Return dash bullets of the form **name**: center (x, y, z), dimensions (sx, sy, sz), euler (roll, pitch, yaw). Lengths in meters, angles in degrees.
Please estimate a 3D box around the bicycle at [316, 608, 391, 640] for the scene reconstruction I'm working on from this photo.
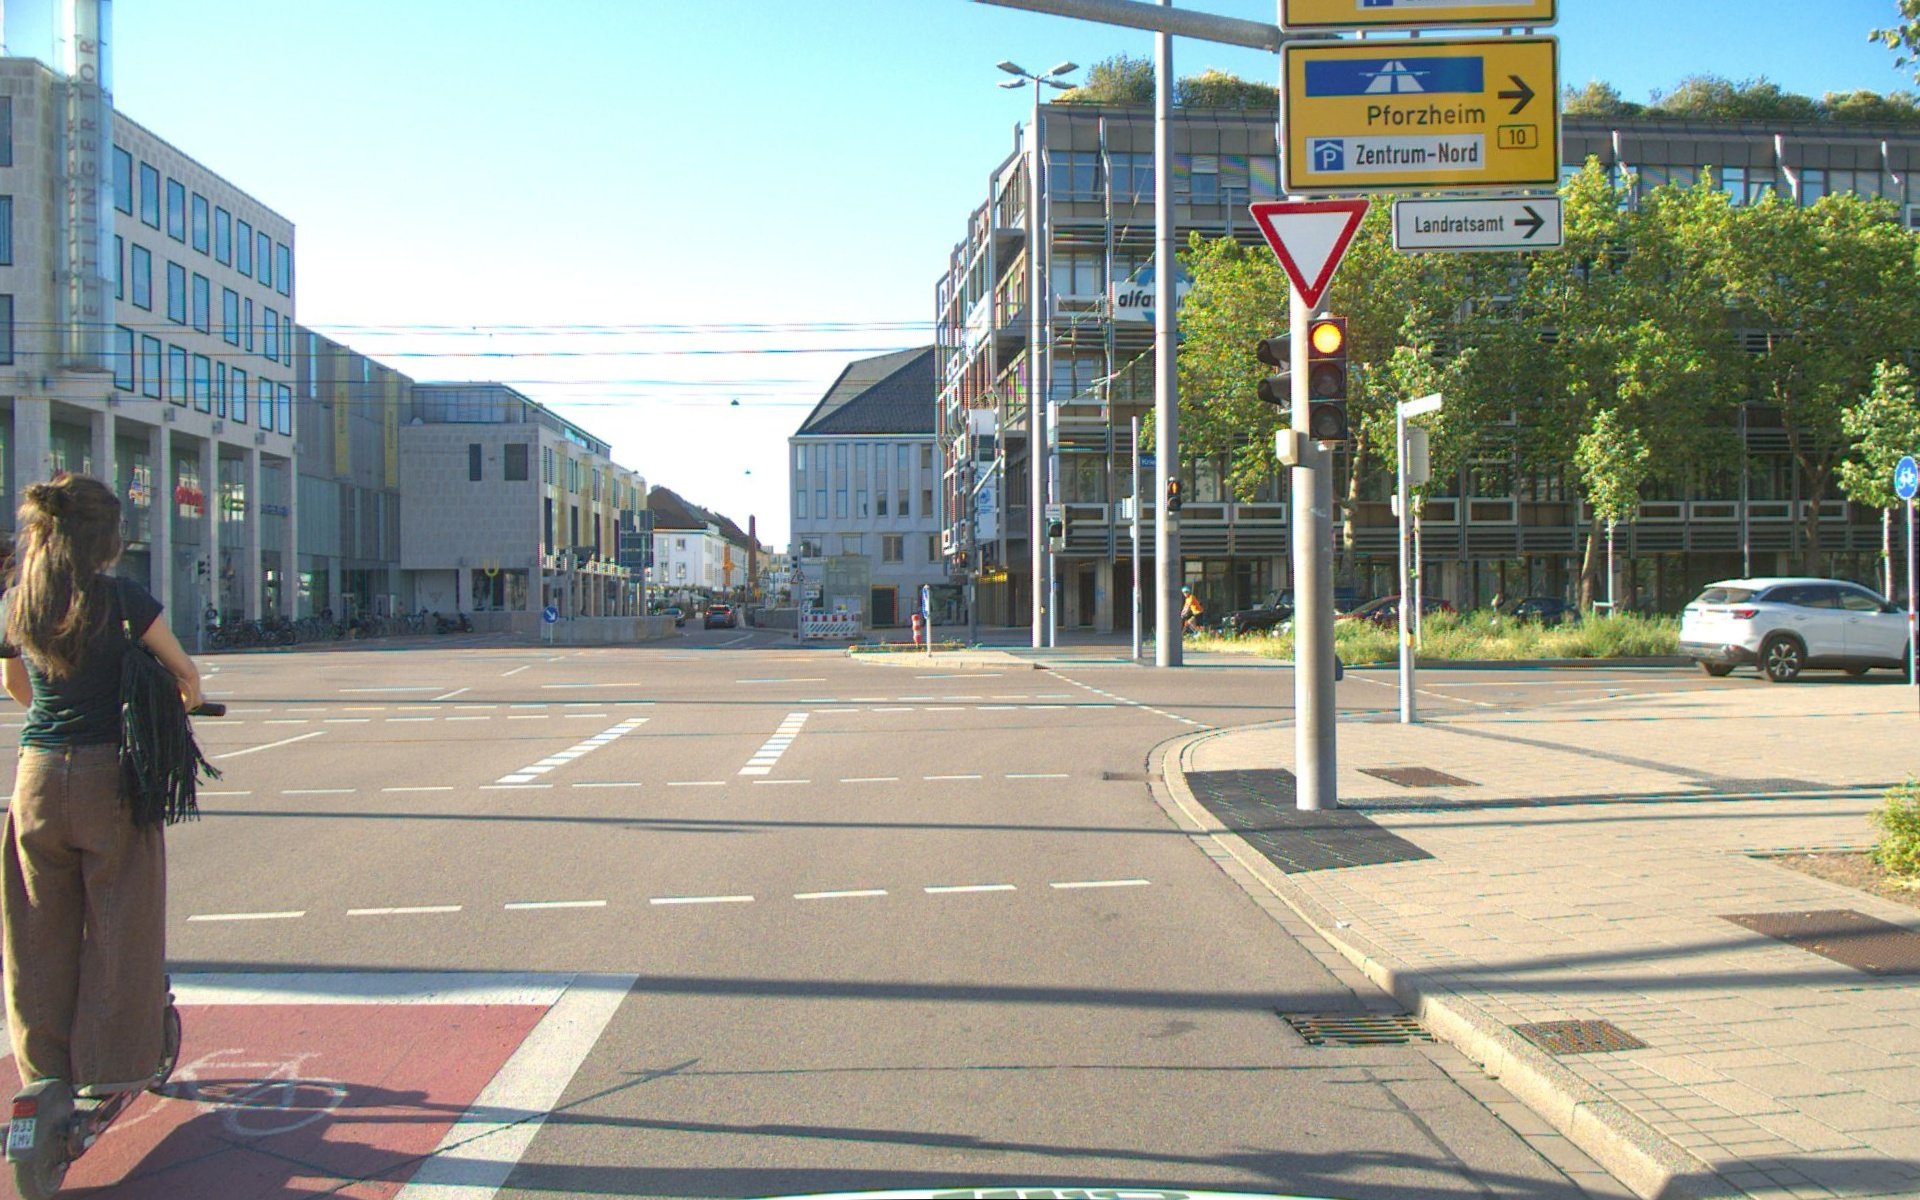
- **bicycle**: center (-30.883, 1.216, 84.263), dimensions (3.430, 1.554, 0.984), euler (-1, 0, -12)

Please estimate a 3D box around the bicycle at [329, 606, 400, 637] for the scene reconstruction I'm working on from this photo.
- **bicycle**: center (-31.388, 1.112, 87.241), dimensions (3.430, 1.554, 0.984), euler (-1, 0, -12)

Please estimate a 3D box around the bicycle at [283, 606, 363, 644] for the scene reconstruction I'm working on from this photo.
- **bicycle**: center (-30.336, 1.191, 78.864), dimensions (3.430, 1.726, 0.984), euler (-1, 0, -12)

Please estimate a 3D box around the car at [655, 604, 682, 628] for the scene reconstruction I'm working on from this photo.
- **car**: center (-22.925, 1.260, 130.211), dimensions (1.722, 1.814, 3.997), euler (-1, 0, -4)

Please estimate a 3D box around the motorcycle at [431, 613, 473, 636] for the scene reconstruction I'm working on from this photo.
- **motorcycle**: center (-29.953, 1.440, 97.591), dimensions (2.230, 1.341, 0.719), euler (-1, 0, -6)

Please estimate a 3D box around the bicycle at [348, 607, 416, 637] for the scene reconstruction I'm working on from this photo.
- **bicycle**: center (-31.946, 1.202, 91.422), dimensions (3.430, 1.554, 0.984), euler (-1, 0, -12)

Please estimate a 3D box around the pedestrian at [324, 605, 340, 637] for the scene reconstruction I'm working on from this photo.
- **pedestrian**: center (-33.510, 1.100, 88.209), dimensions (0.641, 1.671, 0.693), euler (-1, 0, -9)

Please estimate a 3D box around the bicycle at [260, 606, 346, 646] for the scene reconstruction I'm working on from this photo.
- **bicycle**: center (-29.573, 1.172, 74.491), dimensions (3.430, 1.726, 0.984), euler (-1, 0, -12)

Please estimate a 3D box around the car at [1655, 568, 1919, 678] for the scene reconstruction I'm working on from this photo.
- **car**: center (13.892, 0.333, 27.058), dimensions (4.313, 1.689, 1.995), euler (0, 1, -11)

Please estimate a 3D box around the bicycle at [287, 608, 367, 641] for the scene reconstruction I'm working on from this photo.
- **bicycle**: center (-30.541, 1.174, 79.853), dimensions (3.430, 1.554, 0.984), euler (-1, 0, -12)

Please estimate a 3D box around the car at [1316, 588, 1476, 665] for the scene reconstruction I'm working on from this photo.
- **car**: center (12.232, 0.735, 46.575), dimensions (3.908, 2.049, 1.999), euler (1, 0, -3)

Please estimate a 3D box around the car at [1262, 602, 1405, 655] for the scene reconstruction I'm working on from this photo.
- **car**: center (11.440, 0.866, 50.813), dimensions (3.908, 1.534, 1.867), euler (1, 0, -4)

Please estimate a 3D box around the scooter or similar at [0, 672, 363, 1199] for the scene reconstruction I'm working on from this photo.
- **scooter or similar**: center (-2.242, 0.842, 4.415), dimensions (0.713, 1.223, 1.664), euler (0, 0, -1)

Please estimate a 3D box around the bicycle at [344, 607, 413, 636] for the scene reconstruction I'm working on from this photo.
- **bicycle**: center (-31.782, 1.171, 90.397), dimensions (3.430, 1.554, 0.984), euler (-1, 0, -12)

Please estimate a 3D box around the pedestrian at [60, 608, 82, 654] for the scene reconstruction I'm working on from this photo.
- **pedestrian**: center (-32.592, 1.117, 60.643), dimensions (0.531, 1.671, 0.549), euler (-1, 0, -12)

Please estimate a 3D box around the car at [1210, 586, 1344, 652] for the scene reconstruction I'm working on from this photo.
- **car**: center (10.305, 0.600, 53.916), dimensions (3.908, 2.049, 1.999), euler (1, 0, -3)

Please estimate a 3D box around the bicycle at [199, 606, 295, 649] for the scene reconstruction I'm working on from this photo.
- **bicycle**: center (-29.321, 1.116, 68.030), dimensions (3.427, 1.726, 1.114), euler (-1, 0, -10)

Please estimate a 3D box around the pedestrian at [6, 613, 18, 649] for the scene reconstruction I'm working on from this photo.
- **pedestrian**: center (-37.758, 1.235, 65.876), dimensions (0.382, 1.437, 0.433), euler (-1, 0, -29)

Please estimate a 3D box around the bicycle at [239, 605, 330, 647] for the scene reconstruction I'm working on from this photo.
- **bicycle**: center (-28.867, 1.090, 70.710), dimensions (3.427, 1.726, 1.114), euler (-1, 0, -10)

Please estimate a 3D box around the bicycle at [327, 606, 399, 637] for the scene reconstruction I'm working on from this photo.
- **bicycle**: center (-31.071, 1.124, 86.125), dimensions (3.430, 1.554, 0.984), euler (-1, 0, -12)

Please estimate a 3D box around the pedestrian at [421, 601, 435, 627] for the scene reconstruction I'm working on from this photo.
- **pedestrian**: center (-34.168, 0.910, 106.260), dimensions (0.683, 1.671, 0.694), euler (-1, 0, -6)

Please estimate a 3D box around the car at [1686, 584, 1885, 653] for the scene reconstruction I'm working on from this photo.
- **car**: center (26.173, 0.581, 52.573), dimensions (5.332, 2.049, 2.096), euler (1, 0, -3)

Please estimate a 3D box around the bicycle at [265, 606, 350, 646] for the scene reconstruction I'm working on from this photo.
- **bicycle**: center (-29.797, 1.181, 75.579), dimensions (3.430, 1.726, 0.984), euler (-1, 0, -12)

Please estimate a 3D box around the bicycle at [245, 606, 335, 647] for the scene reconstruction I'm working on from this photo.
- **bicycle**: center (-29.097, 1.126, 71.922), dimensions (3.427, 1.726, 1.114), euler (-1, 0, -10)

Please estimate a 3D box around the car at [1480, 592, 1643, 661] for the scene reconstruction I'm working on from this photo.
- **car**: center (18.828, 0.823, 51.877), dimensions (4.359, 2.049, 1.998), euler (1, 0, -6)

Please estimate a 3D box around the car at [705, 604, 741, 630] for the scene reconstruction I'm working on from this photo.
- **car**: center (-15.495, 1.101, 108.160), dimensions (2.157, 1.635, 4.320), euler (-1, 0, -6)

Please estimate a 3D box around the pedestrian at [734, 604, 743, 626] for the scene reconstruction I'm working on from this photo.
- **pedestrian**: center (-14.483, 0.993, 108.190), dimensions (0.598, 1.436, 0.569), euler (-1, 0, -7)

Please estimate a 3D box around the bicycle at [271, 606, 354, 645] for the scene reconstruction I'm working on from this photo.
- **bicycle**: center (-30.038, 1.182, 76.779), dimensions (3.430, 1.726, 0.984), euler (-1, 0, -12)

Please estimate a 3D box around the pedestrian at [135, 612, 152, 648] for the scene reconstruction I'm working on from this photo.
- **pedestrian**: center (-34.661, 1.268, 70.198), dimensions (0.472, 1.537, 0.513), euler (-1, 0, -5)

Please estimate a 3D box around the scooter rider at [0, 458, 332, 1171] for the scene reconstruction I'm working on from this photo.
- **scooter rider**: center (-2.256, 0.542, 4.599), dimensions (0.713, 1.806, 0.811), euler (0, 0, -1)

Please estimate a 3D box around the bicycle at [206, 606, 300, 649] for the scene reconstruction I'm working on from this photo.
- **bicycle**: center (-29.553, 1.129, 69.224), dimensions (3.427, 1.726, 1.114), euler (-1, 0, -10)

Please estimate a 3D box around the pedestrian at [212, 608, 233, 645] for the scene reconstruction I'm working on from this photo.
- **pedestrian**: center (-33.362, 1.205, 74.816), dimensions (0.776, 1.671, 0.688), euler (-1, 0, -30)

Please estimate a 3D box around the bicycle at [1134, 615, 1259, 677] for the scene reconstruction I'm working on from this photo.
- **bicycle**: center (6.749, 1.303, 47.220), dimensions (3.427, 1.688, 0.929), euler (-1, 0, -10)

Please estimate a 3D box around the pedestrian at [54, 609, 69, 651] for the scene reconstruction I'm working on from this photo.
- **pedestrian**: center (-35.132, 1.180, 64.673), dimensions (0.379, 1.613, 0.367), euler (-1, 0, -6)

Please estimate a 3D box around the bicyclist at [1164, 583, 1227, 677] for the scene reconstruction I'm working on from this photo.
- **bicyclist**: center (6.719, 0.834, 47.220), dimensions (1.539, 2.625, 0.930), euler (-1, 0, -10)

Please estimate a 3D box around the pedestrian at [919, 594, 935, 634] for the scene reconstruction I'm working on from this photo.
- **pedestrian**: center (-1.392, 0.592, 69.517), dimensions (0.650, 1.687, 0.755), euler (-1, 0, -4)

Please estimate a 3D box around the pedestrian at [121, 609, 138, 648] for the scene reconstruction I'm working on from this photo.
- **pedestrian**: center (-34.956, 1.195, 69.605), dimensions (0.472, 1.613, 0.513), euler (-1, 0, -5)
